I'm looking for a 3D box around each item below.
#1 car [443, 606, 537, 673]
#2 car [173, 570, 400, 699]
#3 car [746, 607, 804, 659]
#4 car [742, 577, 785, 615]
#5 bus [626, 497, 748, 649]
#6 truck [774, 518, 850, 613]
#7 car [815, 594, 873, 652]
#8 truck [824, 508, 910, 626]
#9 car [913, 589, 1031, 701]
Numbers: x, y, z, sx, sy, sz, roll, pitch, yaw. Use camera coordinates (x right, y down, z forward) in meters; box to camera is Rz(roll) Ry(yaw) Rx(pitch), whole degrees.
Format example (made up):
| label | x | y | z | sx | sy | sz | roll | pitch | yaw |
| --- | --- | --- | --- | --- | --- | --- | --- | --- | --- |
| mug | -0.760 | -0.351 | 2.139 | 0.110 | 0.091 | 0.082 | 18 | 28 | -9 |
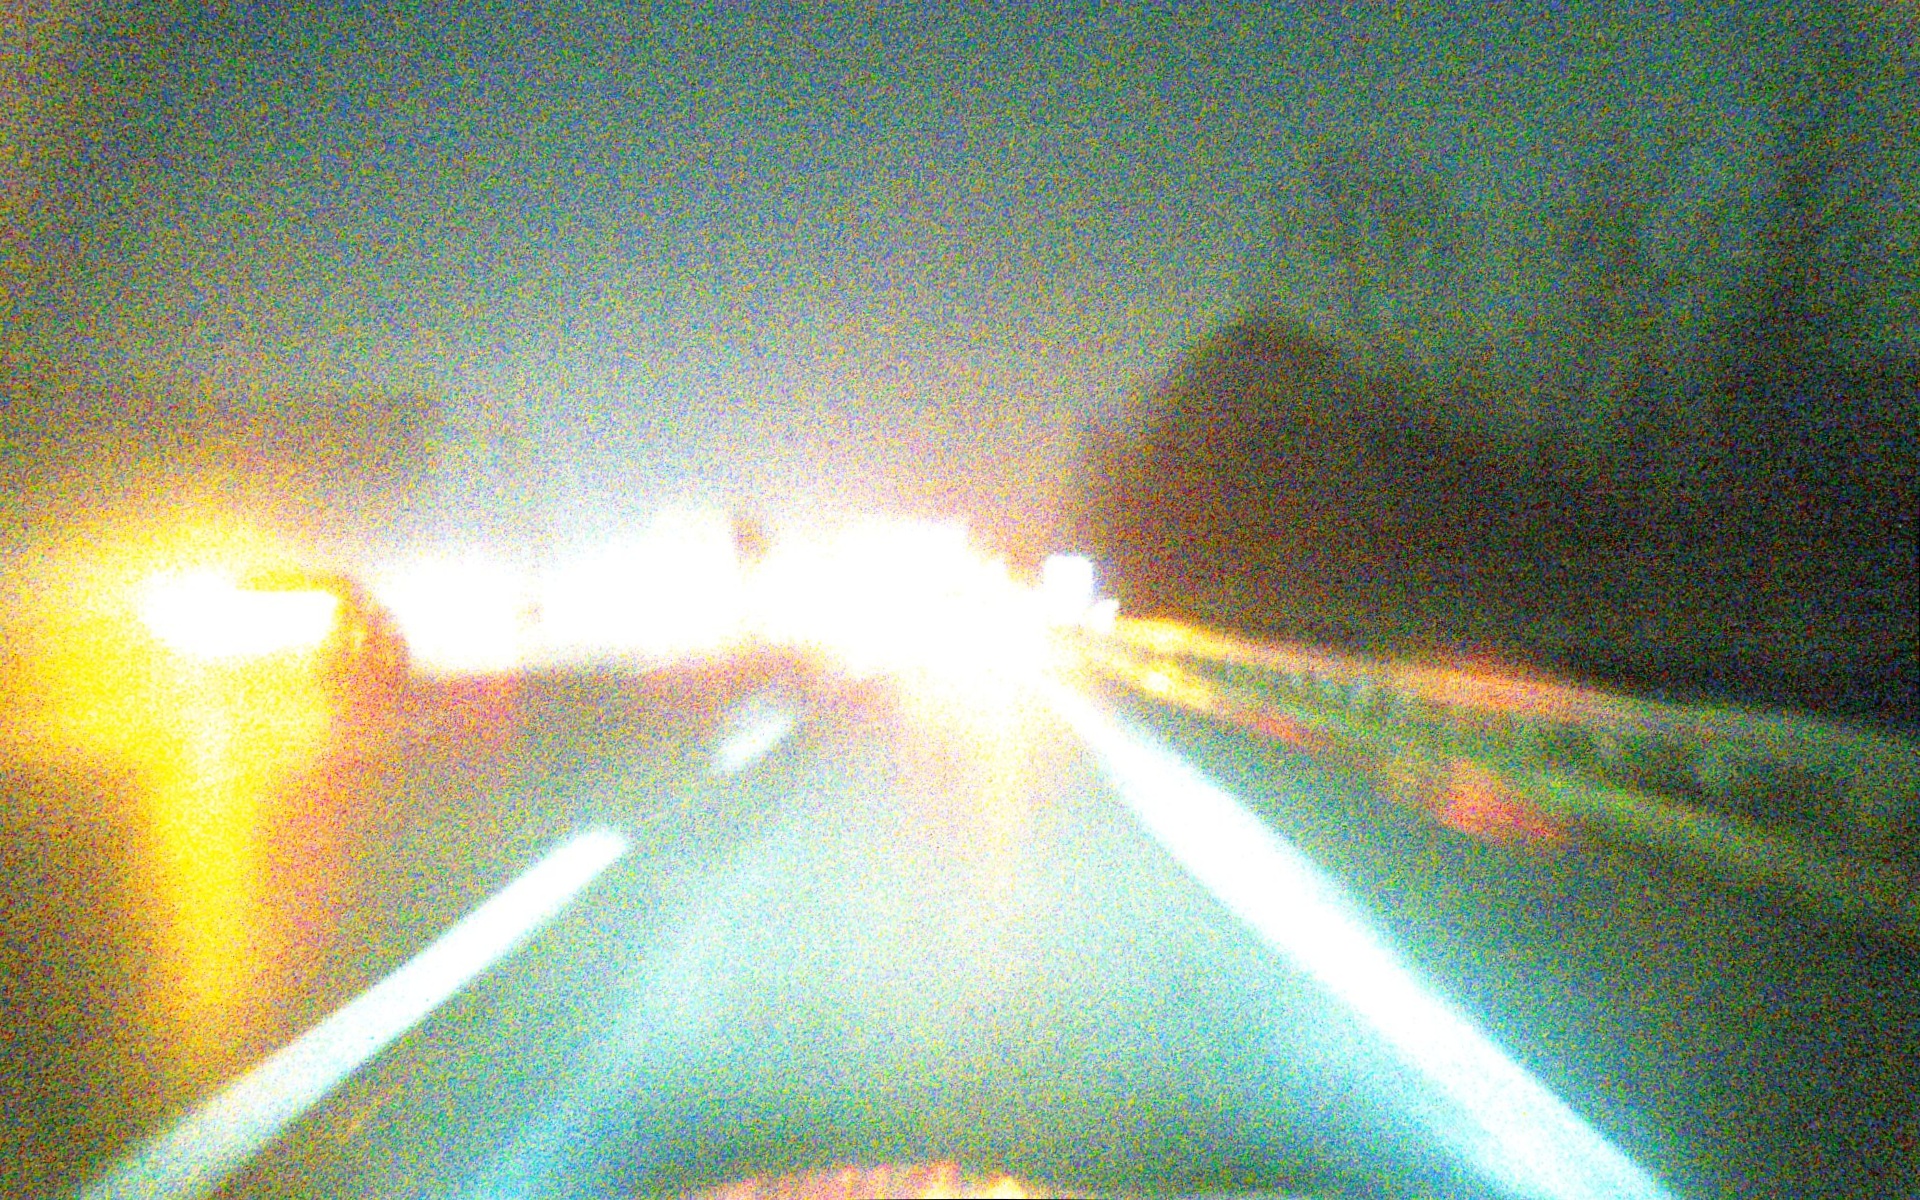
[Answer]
| label | x | y | z | sx | sy | sz | roll | pitch | yaw |
| --- | --- | --- | --- | --- | --- | --- | --- | --- | --- |
| car | -12.310 | 1.005 | 43.541 | 1.661 | 1.679 | 3.836 | 1 | 0 | -5 |
| car | -9.319 | 0.458 | 23.250 | 1.956 | 1.624 | 3.993 | 1 | 0 | -7 |
| car | -6.843 | 1.217 | 61.620 | 1.954 | 1.839 | 3.997 | 1 | 0 | -4 |
| car | -9.887 | -0.204 | 83.547 | 1.954 | 1.839 | 3.997 | 1 | 0 | -4 |
| bus | -9.078 | -0.801 | 56.155 | 3.036 | 4.587 | 10.903 | 1 | 0 | -4 |
| truck | -9.504 | -2.094 | 107.495 | 4.125 | 5.747 | 11.463 | 1 | 0 | -2 |
| car | -4.350 | 0.854 | 62.385 | 2.084 | 2.049 | 4.642 | 1 | 0 | -3 |
| truck | -4.744 | -1.614 | 87.352 | 4.125 | 5.747 | 11.463 | 1 | 0 | -2 |
| car | 0.170 | 0.758 | 29.667 | 1.953 | 1.839 | 3.999 | 1 | 0 | -1 |
